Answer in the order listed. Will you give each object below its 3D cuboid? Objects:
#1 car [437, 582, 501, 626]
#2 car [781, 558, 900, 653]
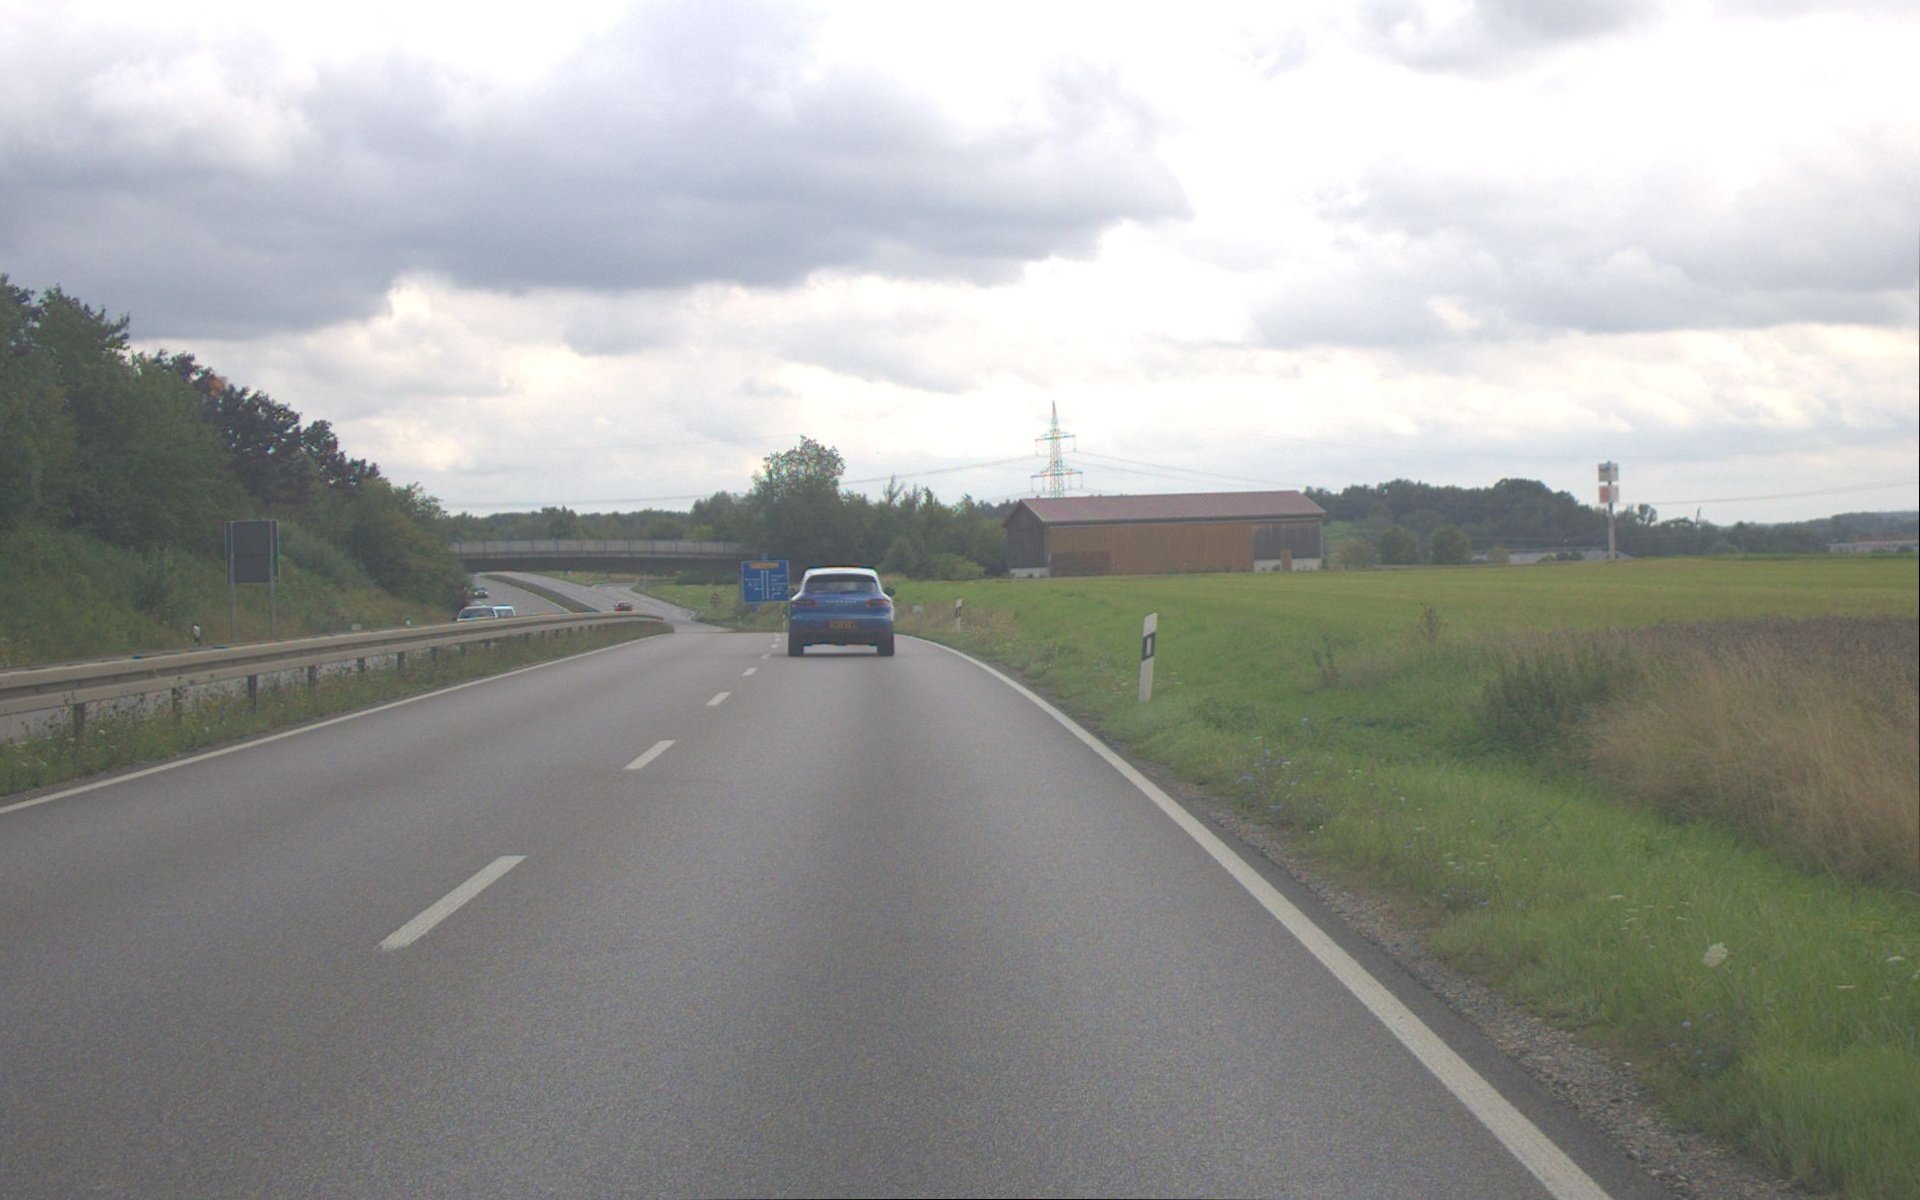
[{"bbox_3d":[-19.340,0.150,135.580,1.993,1.512,4.989,-1,2,-3],"label":"car"},{"bbox_3d":[-2.170,0.074,63.517,2.033,1.655,4.543,0,1,0],"label":"car"}]
